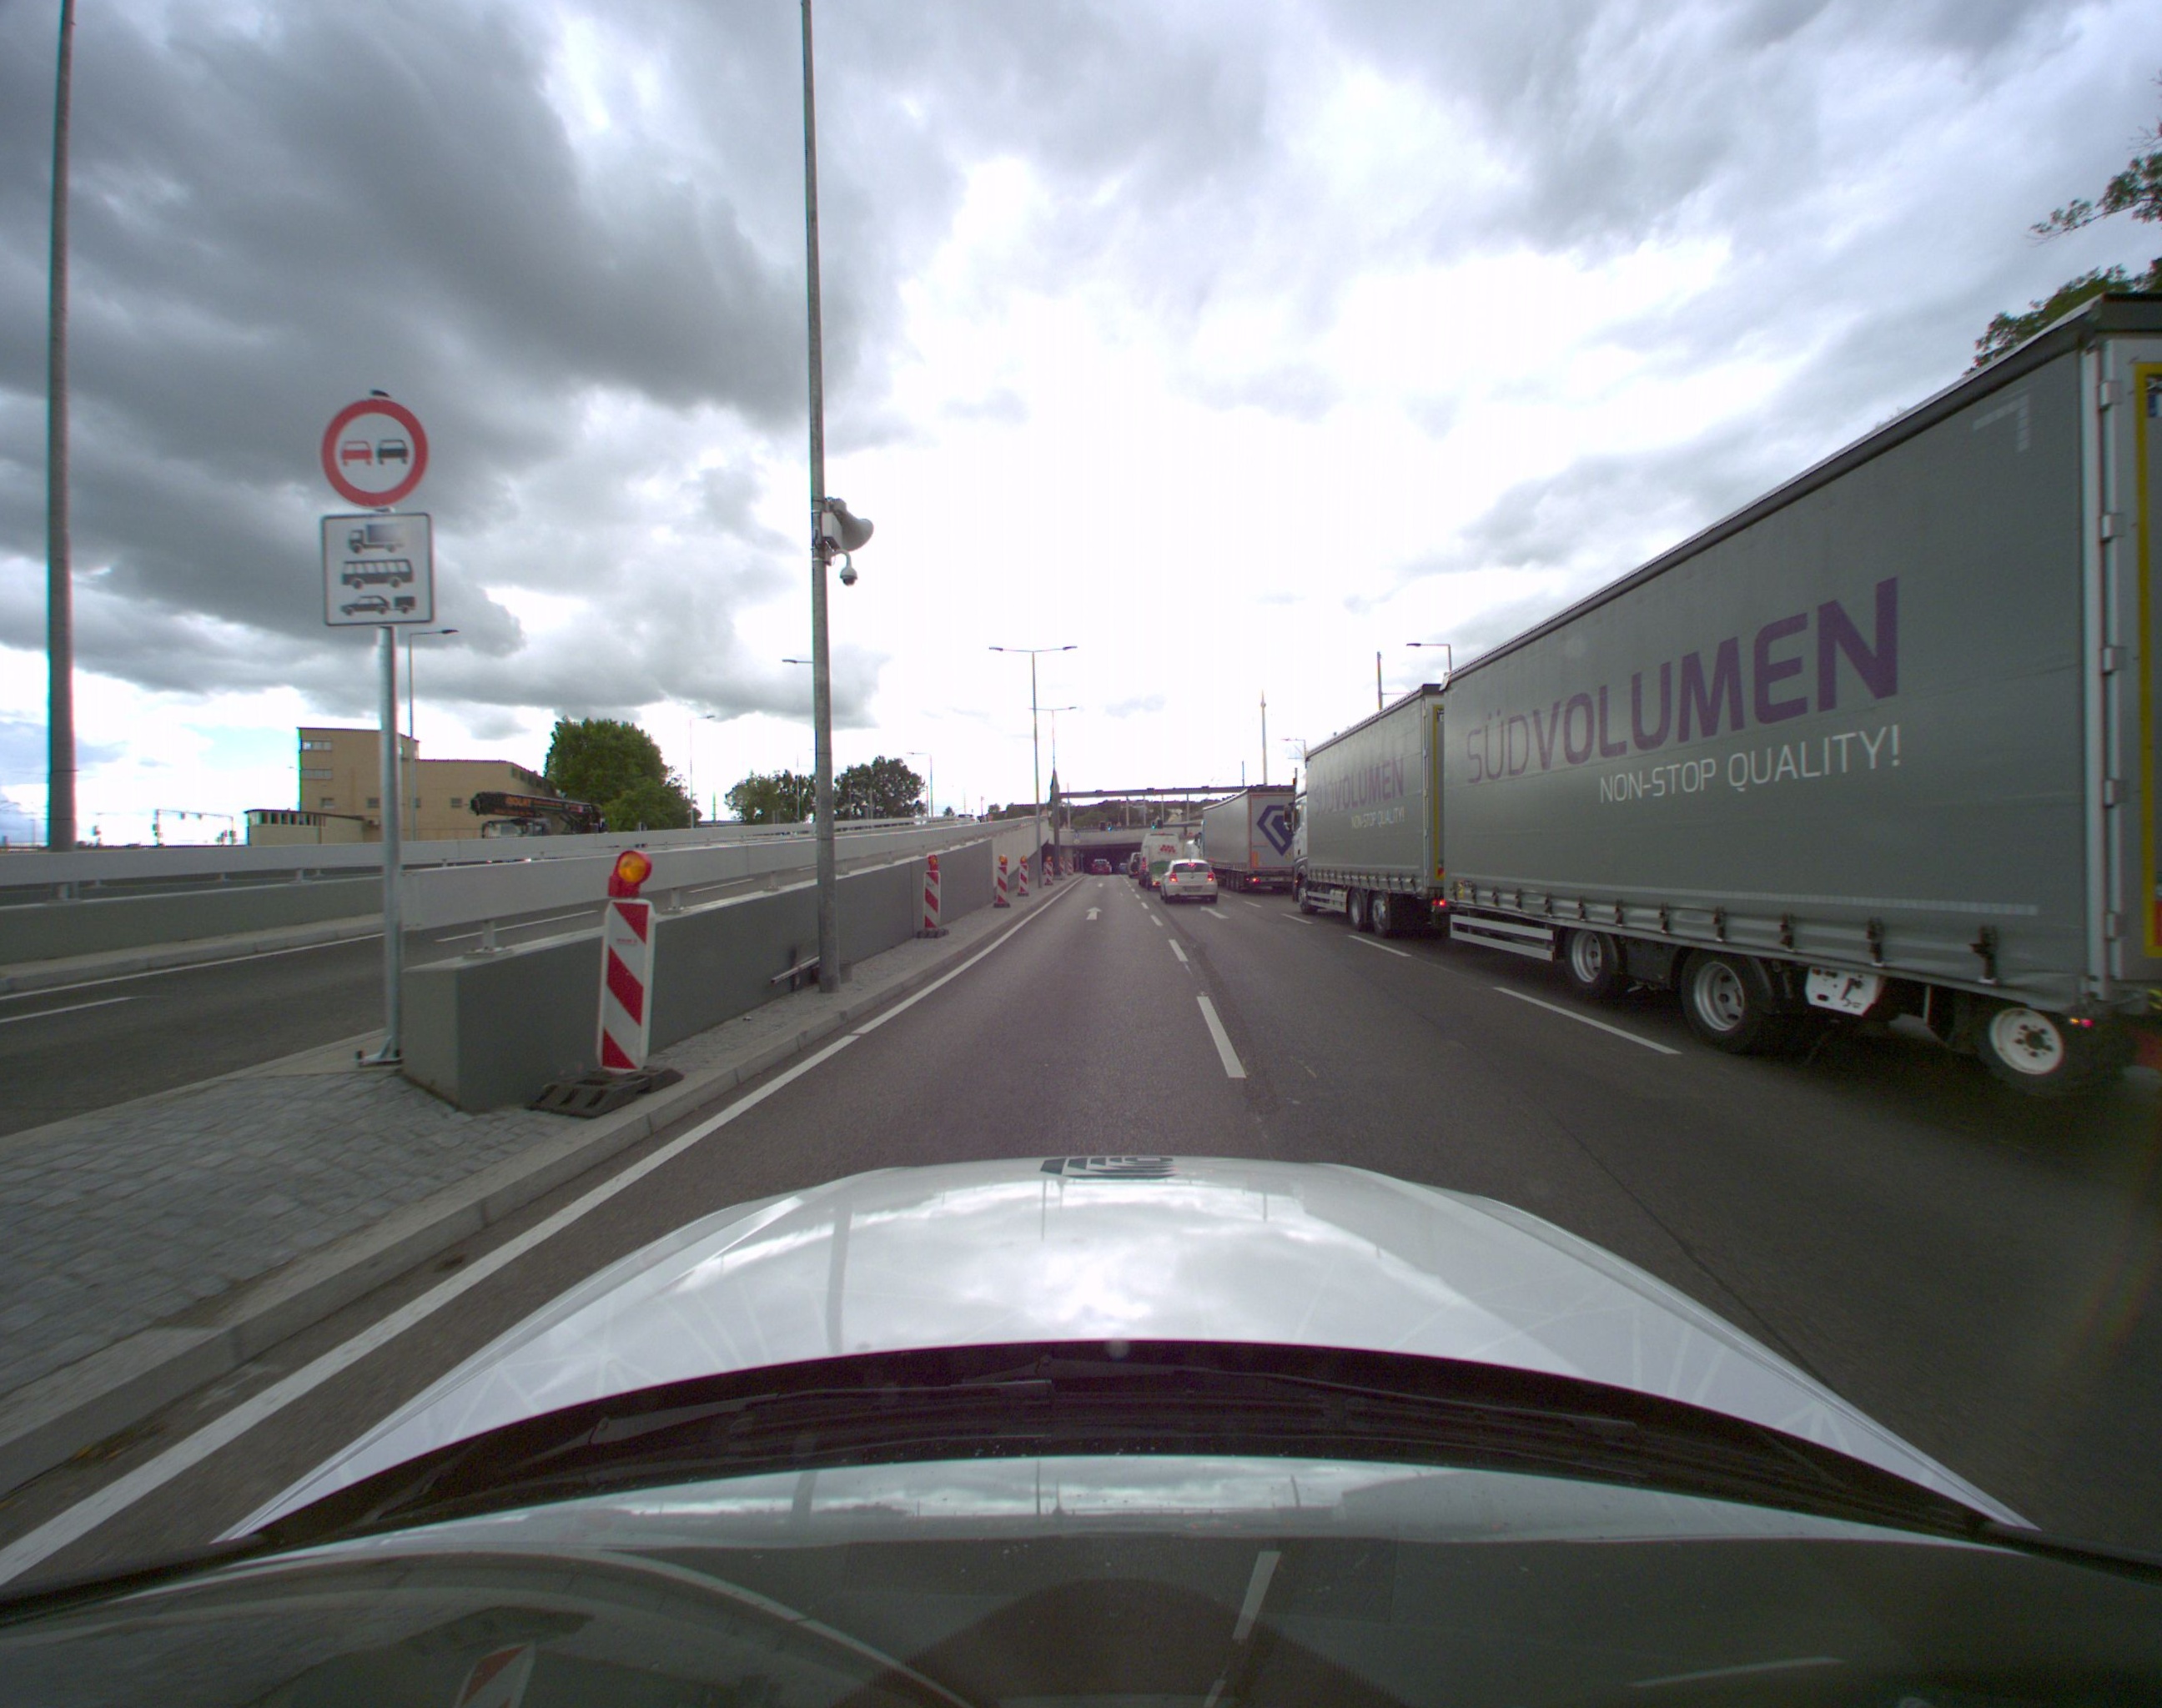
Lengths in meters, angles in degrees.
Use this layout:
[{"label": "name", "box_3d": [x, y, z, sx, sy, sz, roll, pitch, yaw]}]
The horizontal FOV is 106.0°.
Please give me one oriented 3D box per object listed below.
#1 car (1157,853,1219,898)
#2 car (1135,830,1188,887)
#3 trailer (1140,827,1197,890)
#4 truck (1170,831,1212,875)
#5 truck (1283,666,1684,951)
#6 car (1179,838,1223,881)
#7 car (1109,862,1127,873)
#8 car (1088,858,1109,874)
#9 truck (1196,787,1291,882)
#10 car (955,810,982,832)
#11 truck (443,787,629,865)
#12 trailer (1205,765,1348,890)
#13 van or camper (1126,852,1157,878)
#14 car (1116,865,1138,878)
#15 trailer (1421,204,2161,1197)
[{"label": "car", "box_3d": [3.601, 0.708, 27.990, 1.709, 1.398, 4.349, 1, -1, 2]}, {"label": "car", "box_3d": [4.001, 0.265, 41.529, 2.051, 2.628, 5.941, 2, -1, 0]}, {"label": "trailer", "box_3d": [3.983, 0.224, 37.878, 2.096, 2.639, 4.809, 2, -1, 0]}, {"label": "truck", "box_3d": [8.672, -0.024, 65.061, 2.639, 3.185, 7.430, -2, -1, 3]}, {"label": "truck", "box_3d": [7.220, -0.640, 17.405, 3.708, 4.141, 10.993, 0, 0, 3]}, {"label": "car", "box_3d": [8.217, 0.364, 56.465, 2.068, 2.773, 7.328, -1, 0, 1]}, {"label": "car", "box_3d": [4.983, 1.811, 109.971, 1.989, 1.387, 3.995, -1, 0, -3]}, {"label": "car", "box_3d": [1.720, 1.201, 79.758, 1.657, 1.488, 3.560, -1, -2, -5]}, {"label": "truck", "box_3d": [8.393, -0.934, 43.169, 3.791, 4.631, 7.445, 0, 0, 2]}, {"label": "car", "box_3d": [-8.975, -2.618, 65.079, 1.739, 1.432, 3.771, 2, -1, -3]}, {"label": "truck", "box_3d": [-27.096, -1.441, 41.382, 2.726, 3.389, 10.610, 1, 2, -3]}, {"label": "trailer", "box_3d": [8.167, -0.957, 36.194, 3.791, 4.631, 12.118, 0, 0, 2]}, {"label": "van or camper", "box_3d": [4.502, 0.788, 60.888, 1.986, 1.845, 5.508, 0, -1, 1]}, {"label": "car", "box_3d": [4.824, 1.869, 85.750, 1.662, 1.247, 3.558, -1, -2, -6]}, {"label": "trailer", "box_3d": [6.554, -0.630, 6.457, 3.708, 4.141, 10.993, 0, 0, 3]}]
